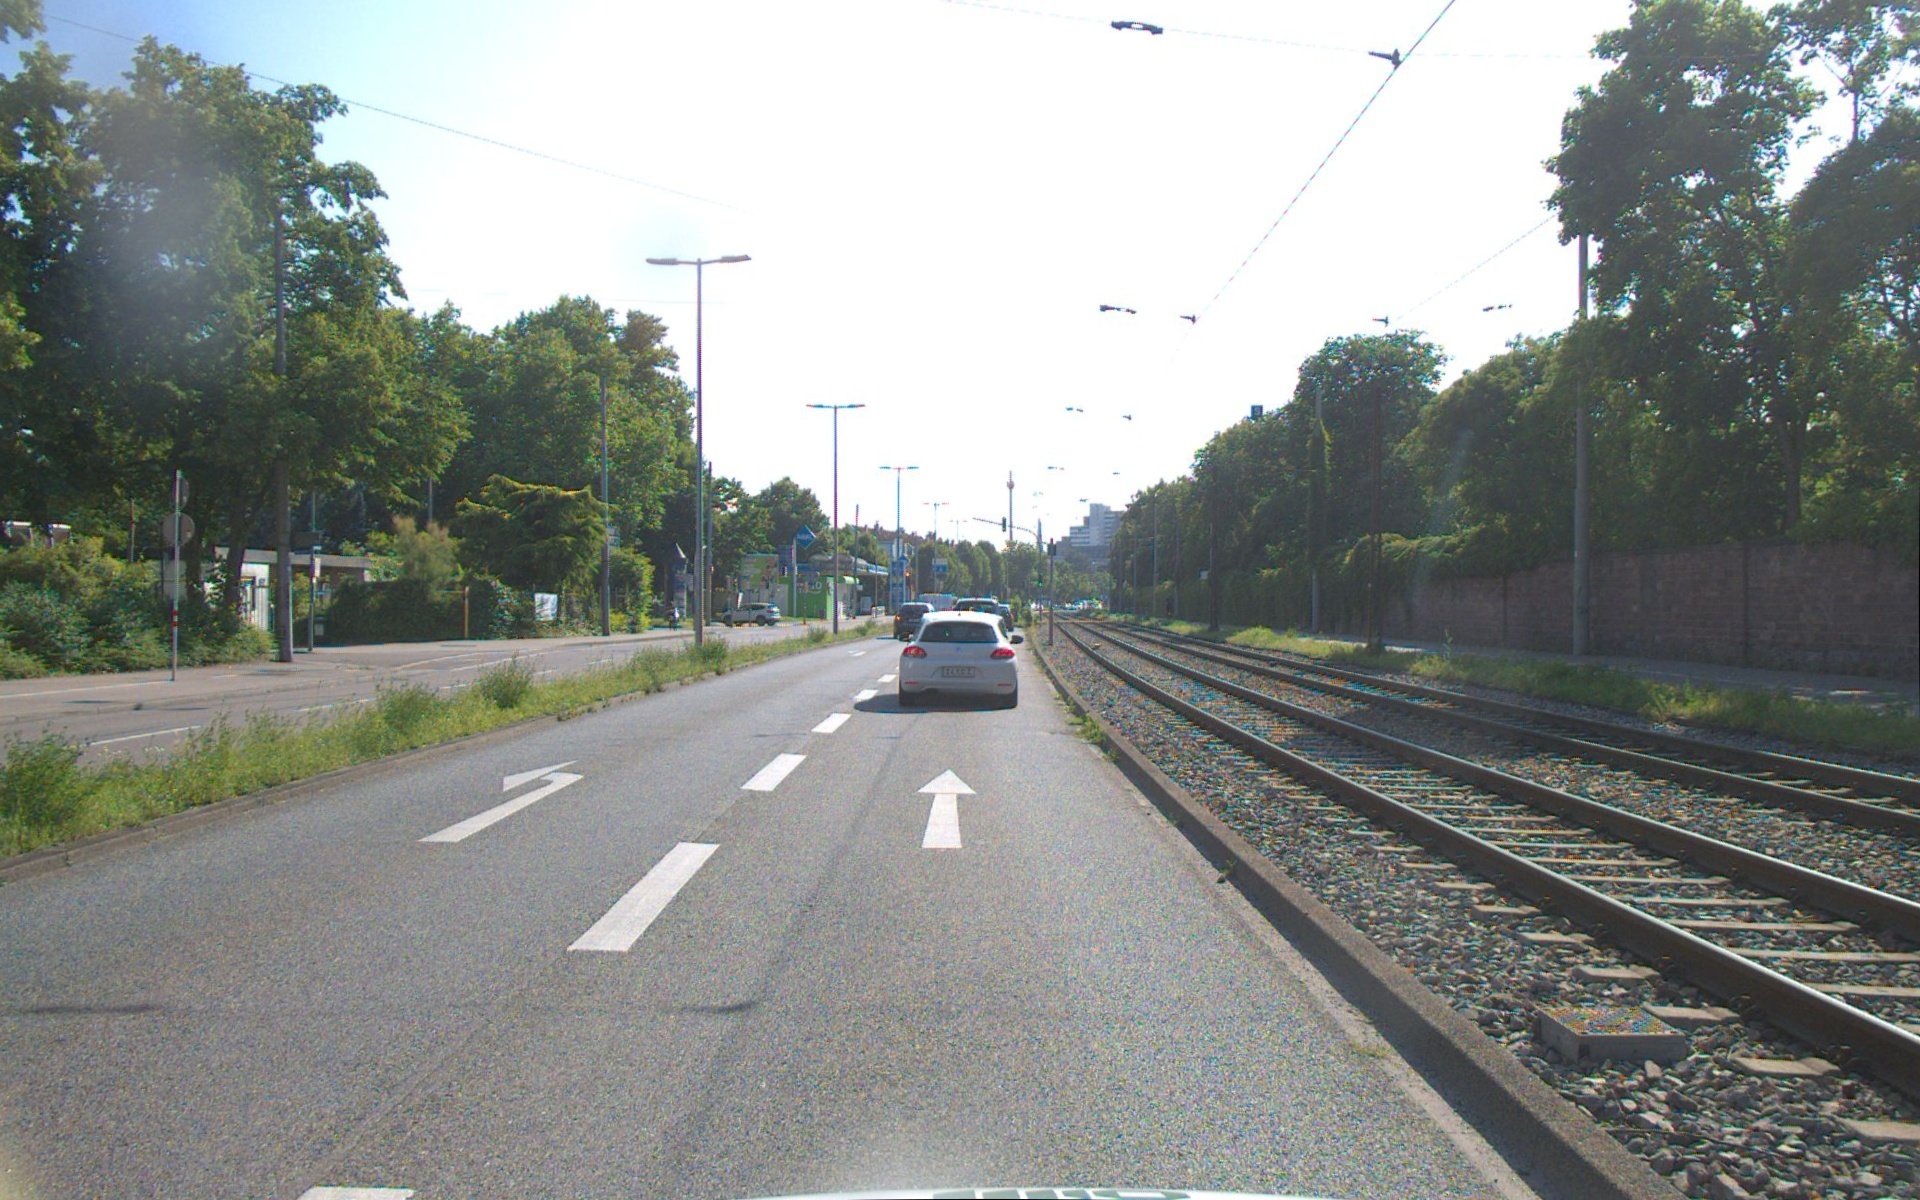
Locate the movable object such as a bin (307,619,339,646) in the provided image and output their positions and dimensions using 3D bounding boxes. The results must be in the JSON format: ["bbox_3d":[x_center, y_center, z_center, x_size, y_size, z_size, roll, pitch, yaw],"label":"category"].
[{"bbox_3d":[-22.475,1.139,58.365,0.799,0.947,0.853,0,0,1],"label":"movable object such as a bin"}]

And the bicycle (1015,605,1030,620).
[{"bbox_3d":[4.707,0.944,124.762,0.629,1.174,1.938,0,0,17],"label":"bicycle"}]

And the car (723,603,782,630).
[{"bbox_3d":[-14.954,1.192,119.406,3.857,1.764,1.656,2,0,19],"label":"car"}]

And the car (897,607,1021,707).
[{"bbox_3d":[-0.014,0.825,25.464,1.744,1.380,3.601,1,0,0],"label":"car"}]

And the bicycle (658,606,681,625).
[{"bbox_3d":[-16.732,0.884,95.335,0.648,1.068,2.582,0,0,6],"label":"bicycle"}]

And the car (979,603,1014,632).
[{"bbox_3d":[1.990,0.966,90.786,1.713,1.511,3.600,1,0,-1],"label":"car"}]

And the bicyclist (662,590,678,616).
[{"bbox_3d":[-16.729,0.158,95.433,0.648,1.478,1.051,0,0,6],"label":"bicyclist"}]

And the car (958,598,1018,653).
[{"bbox_3d":[0.849,0.765,51.388,1.689,1.620,3.600,1,0,-1],"label":"car"}]

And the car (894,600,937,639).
[{"bbox_3d":[-1.879,0.795,69.844,1.724,1.511,4.644,1,0,-1],"label":"car"}]

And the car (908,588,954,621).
[{"bbox_3d":[-1.819,0.285,102.465,1.788,1.997,4.383,0,0,-16],"label":"car"}]
